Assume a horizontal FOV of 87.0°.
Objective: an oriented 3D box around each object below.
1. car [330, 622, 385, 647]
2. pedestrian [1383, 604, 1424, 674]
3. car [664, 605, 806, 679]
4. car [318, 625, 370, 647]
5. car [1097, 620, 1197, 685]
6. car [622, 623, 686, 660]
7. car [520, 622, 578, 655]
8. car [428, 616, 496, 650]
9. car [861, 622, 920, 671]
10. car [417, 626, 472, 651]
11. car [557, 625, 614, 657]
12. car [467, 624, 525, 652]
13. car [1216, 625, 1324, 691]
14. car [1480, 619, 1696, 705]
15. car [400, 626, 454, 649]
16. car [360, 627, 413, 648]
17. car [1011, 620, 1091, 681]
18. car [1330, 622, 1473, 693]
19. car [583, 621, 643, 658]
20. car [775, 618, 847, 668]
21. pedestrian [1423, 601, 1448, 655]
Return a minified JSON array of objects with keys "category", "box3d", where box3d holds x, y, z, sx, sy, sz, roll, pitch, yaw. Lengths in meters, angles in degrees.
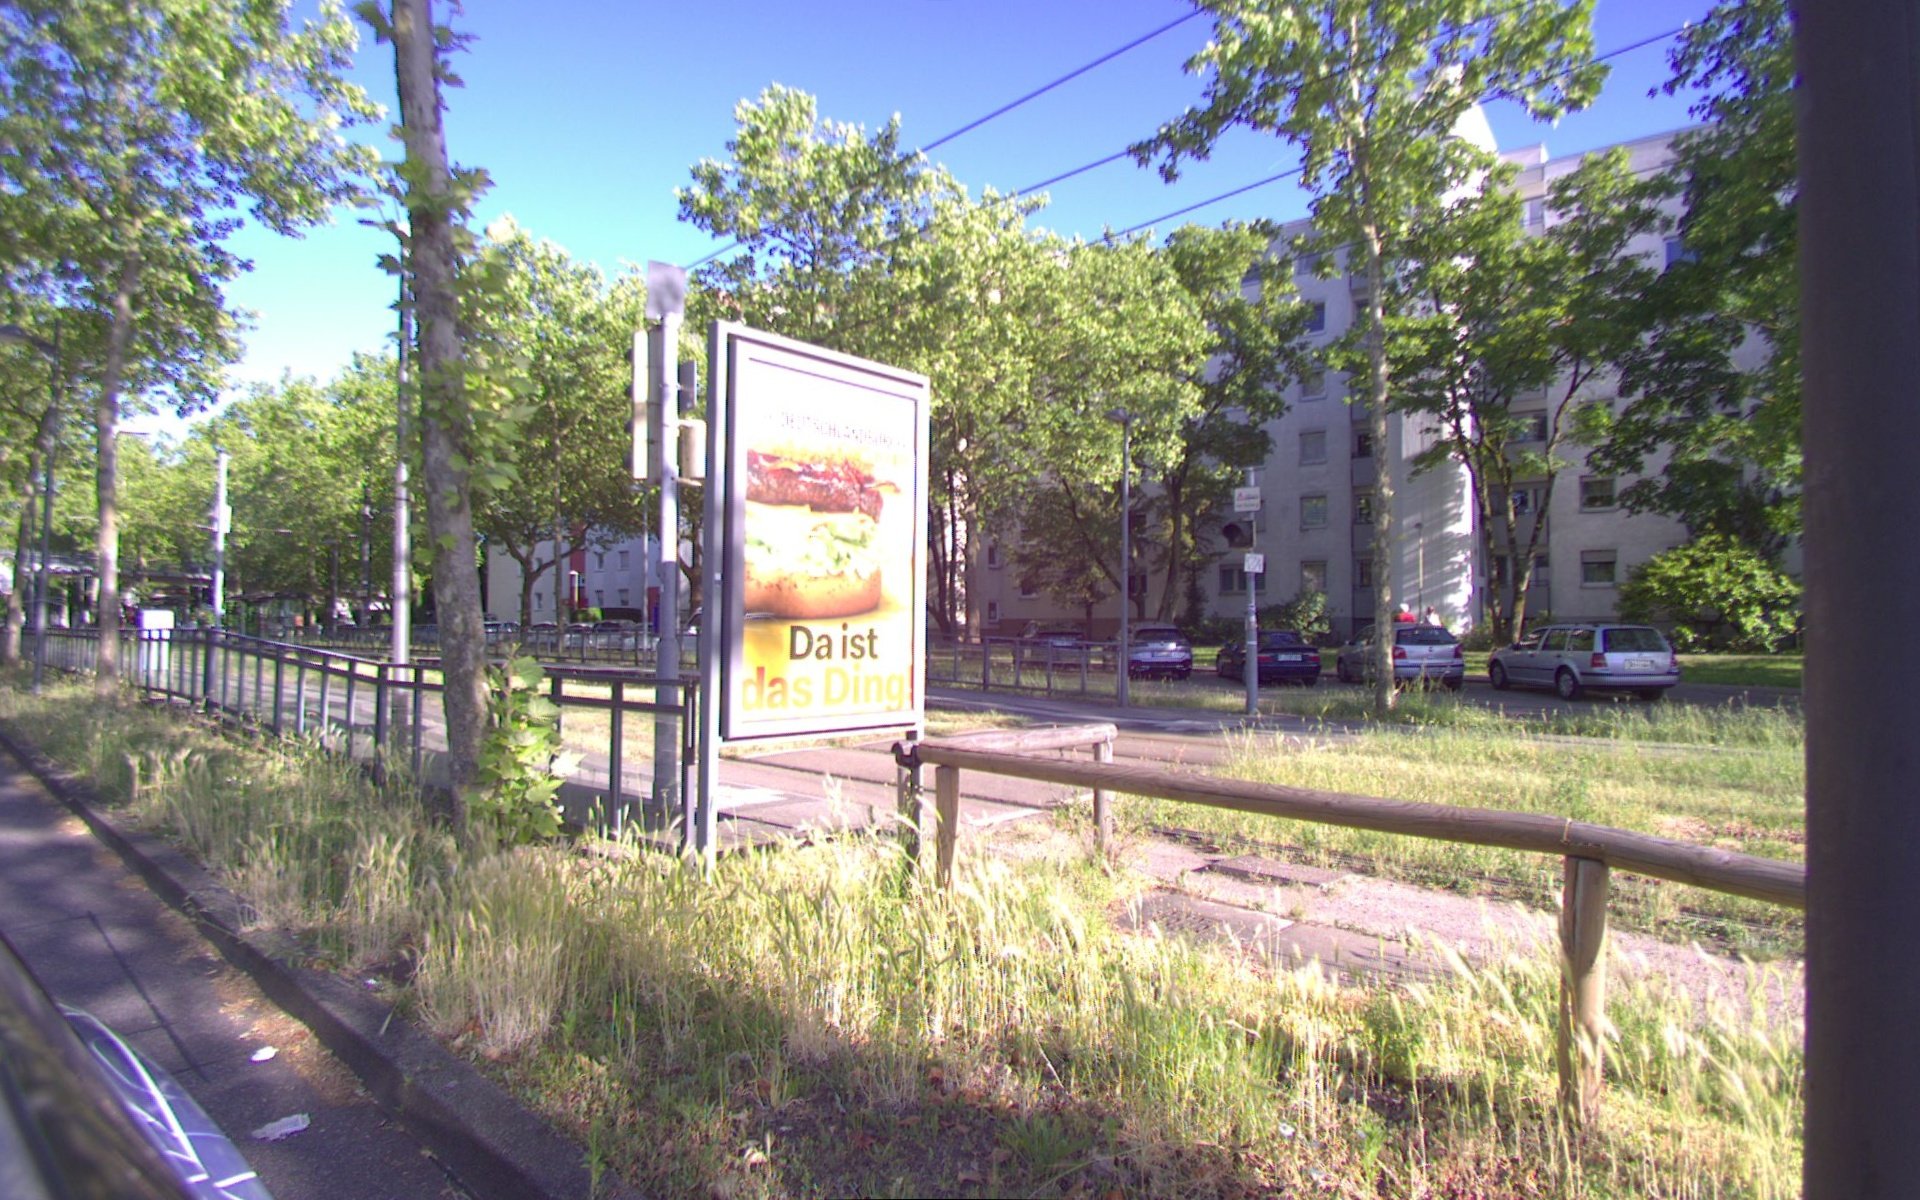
[{"category":"car","box3d":[-40.092,2.283,67.462,1.578,1.582,3.830,0,-1,-3]},{"category":"pedestrian","box3d":[11.372,0.987,25.967,0.755,1.770,0.752,-2,-2,42]},{"category":"car","box3d":[-6.704,1.196,29.823,4.652,2.007,1.772,-2,-2,43]},{"category":"car","box3d":[-43.919,2.533,72.251,1.578,1.538,3.737,0,-1,-3]},{"category":"car","box3d":[4.903,1.343,27.084,1.650,1.469,4.004,-1,0,-4]},{"category":"car","box3d":[-13.220,1.770,43.919,1.470,1.425,3.880,-1,0,3]},{"category":"car","box3d":[-20.471,1.912,50.523,1.539,1.436,3.489,-3,0,-2]},{"category":"car","box3d":[-27.698,1.799,56.447,1.843,1.826,4.048,0,-1,-1]},{"category":"car","box3d":[-2.281,1.523,33.939,1.538,1.439,3.761,-1,0,3]},{"category":"car","box3d":[-29.918,2.204,58.800,1.459,1.354,3.487,0,-1,-1]},{"category":"car","box3d":[-18.051,1.941,48.877,1.459,1.339,3.488,-2,0,-1]},{"category":"car","box3d":[-25.070,2.032,54.762,1.605,1.414,3.487,0,-1,-1]},{"category":"car","box3d":[7.467,1.353,24.718,1.572,1.360,3.922,-1,0,3]},{"category":"car","box3d":[12.257,1.144,20.079,1.685,1.454,3.978,-1,0,-1]},{"category":"car","box3d":[-32.365,2.263,61.540,1.459,1.311,3.487,0,-1,-1]},{"category":"car","box3d":[-36.997,2.393,65.366,1.459,1.330,3.487,0,-1,-1]},{"category":"car","box3d":[2.537,1.395,29.107,1.669,1.499,4.003,-1,0,-4]},{"category":"car","box3d":[9.857,1.230,22.900,1.553,1.431,3.620,-1,-1,-1]},{"category":"car","box3d":[-15.837,1.783,46.375,1.445,1.519,3.393,-1,0,3]},{"category":"car","box3d":[-5.284,1.498,36.321,1.791,1.607,3.997,-1,0,3]},{"category":"pedestrian","box3d":[15.658,0.920,33.330,0.634,1.770,0.516,-2,-2,39]}]
